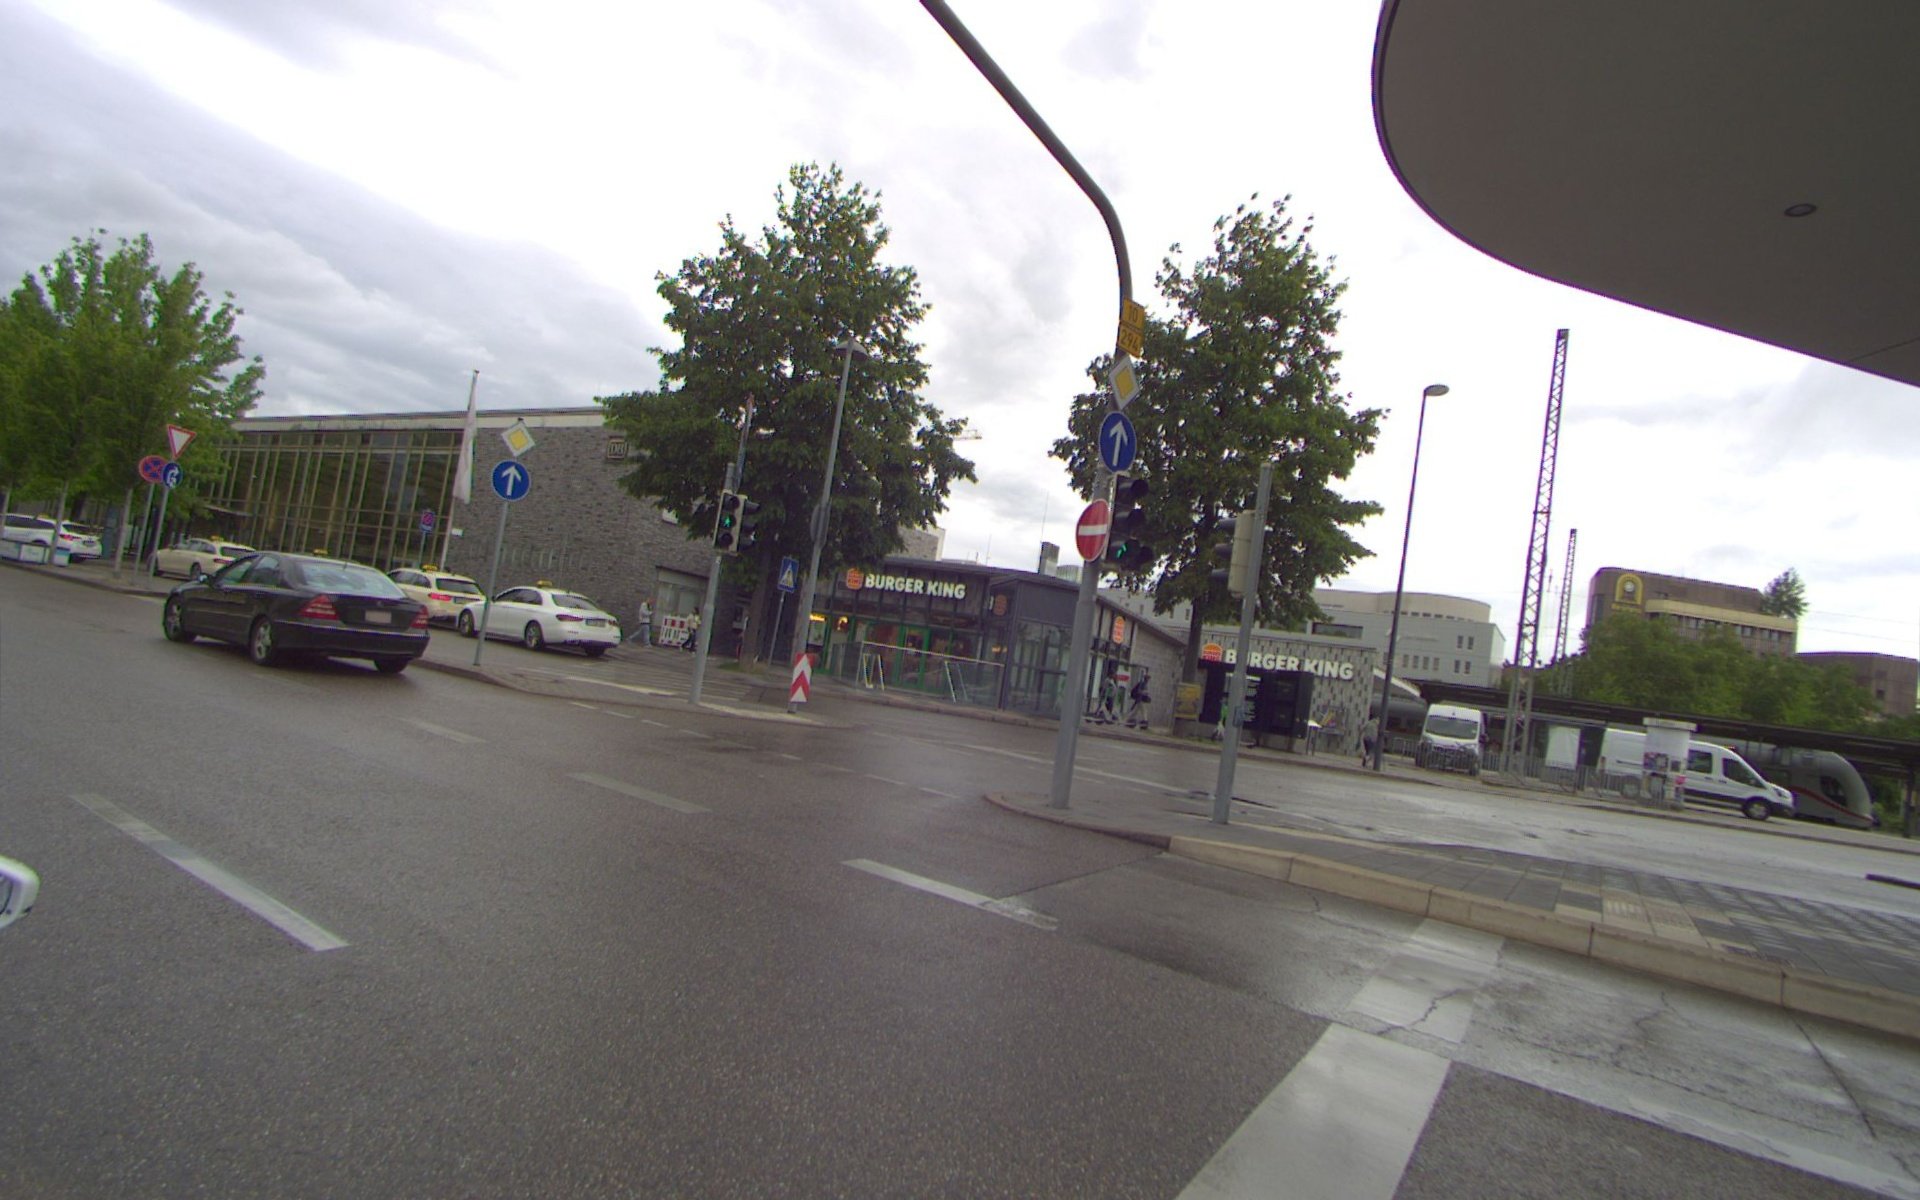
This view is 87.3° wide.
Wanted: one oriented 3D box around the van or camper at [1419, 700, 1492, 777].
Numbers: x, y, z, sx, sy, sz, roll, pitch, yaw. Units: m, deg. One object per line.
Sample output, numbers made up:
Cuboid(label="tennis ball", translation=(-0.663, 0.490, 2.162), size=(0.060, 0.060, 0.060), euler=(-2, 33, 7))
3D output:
Cuboid(label="van or camper", translation=(19.128, 5.248, 38.821), size=(2.128, 2.461, 5.862), euler=(6, -2, 27))

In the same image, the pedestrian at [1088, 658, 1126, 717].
Cuboid(label="pedestrian", translation=(4.541, 2.692, 31.049), size=(0.712, 1.686, 0.795), euler=(7, -1, -17))

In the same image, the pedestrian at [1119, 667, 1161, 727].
Cuboid(label="pedestrian", translation=(5.365, 2.887, 29.946), size=(0.787, 1.686, 0.719), euler=(6, -2, 44))

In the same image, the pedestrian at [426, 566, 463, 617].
Cuboid(label="pedestrian", translation=(-17.628, -0.270, 34.430), size=(0.784, 1.645, 0.722), euler=(7, -1, -10))

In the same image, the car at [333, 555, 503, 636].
Cuboid(label="car", translation=(-15.052, -0.143, 27.849), size=(4.880, 1.618, 1.996), euler=(6, -2, 35))

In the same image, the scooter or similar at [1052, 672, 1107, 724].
Cuboid(label="scooter or similar", translation=(3.154, 2.593, 26.551), size=(1.280, 1.196, 0.334), euler=(7, -1, 1))

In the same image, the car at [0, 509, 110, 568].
Cuboid(label="car", translation=(-32.962, -2.280, 35.124), size=(4.693, 1.563, 1.764), euler=(8, -3, -5))

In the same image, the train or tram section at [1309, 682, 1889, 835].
Cuboid(label="train or tram section", translation=(36.948, 9.031, 61.788), size=(28.843, 4.230, 4.597), euler=(6, -2, 34))

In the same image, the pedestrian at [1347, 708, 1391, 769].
Cuboid(label="pedestrian", translation=(11.355, 3.841, 27.940), size=(0.824, 1.547, 0.638), euler=(7, -1, 4))

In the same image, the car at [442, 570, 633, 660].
Cuboid(label="car", translation=(-10.428, 0.337, 24.699), size=(4.826, 1.618, 1.882), euler=(6, -2, 35))

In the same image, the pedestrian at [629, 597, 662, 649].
Cuboid(label="pedestrian", translation=(-10.318, 0.741, 33.027), size=(0.703, 1.598, 0.765), euler=(7, -1, -30))

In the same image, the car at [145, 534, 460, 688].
Cuboid(label="car", translation=(-8.717, 0.114, 13.233), size=(4.379, 1.482, 1.698), euler=(6, -2, 32))

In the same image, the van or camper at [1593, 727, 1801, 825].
Cuboid(label="van or camper", translation=(26.616, 6.301, 36.651), size=(5.771, 2.461, 1.996), euler=(6, -2, 34))

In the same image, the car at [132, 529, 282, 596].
Cuboid(label="car", translation=(-25.722, -1.298, 34.332), size=(4.871, 1.618, 2.000), euler=(7, -2, 27))

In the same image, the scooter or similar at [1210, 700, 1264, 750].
Cuboid(label="scooter or similar", translation=(7.638, 3.440, 27.766), size=(1.280, 1.196, 0.334), euler=(7, -1, 1))

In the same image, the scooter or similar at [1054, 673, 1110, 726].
Cuboid(label="scooter or similar", translation=(3.134, 2.565, 25.949), size=(1.280, 1.196, 0.334), euler=(7, -1, 1))

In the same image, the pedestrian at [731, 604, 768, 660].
Cuboid(label="pedestrian", translation=(-6.669, 1.027, 31.891), size=(0.762, 1.687, 0.647), euler=(6, -1, 12))

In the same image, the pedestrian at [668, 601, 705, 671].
Cuboid(label="pedestrian", translation=(-9.016, 1.186, 33.201), size=(0.709, 2.189, 0.798), euler=(7, -1, 3))

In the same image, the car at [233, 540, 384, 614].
Cuboid(label="car", translation=(-20.277, -0.728, 31.255), size=(4.878, 1.616, 1.998), euler=(6, -4, 33))
